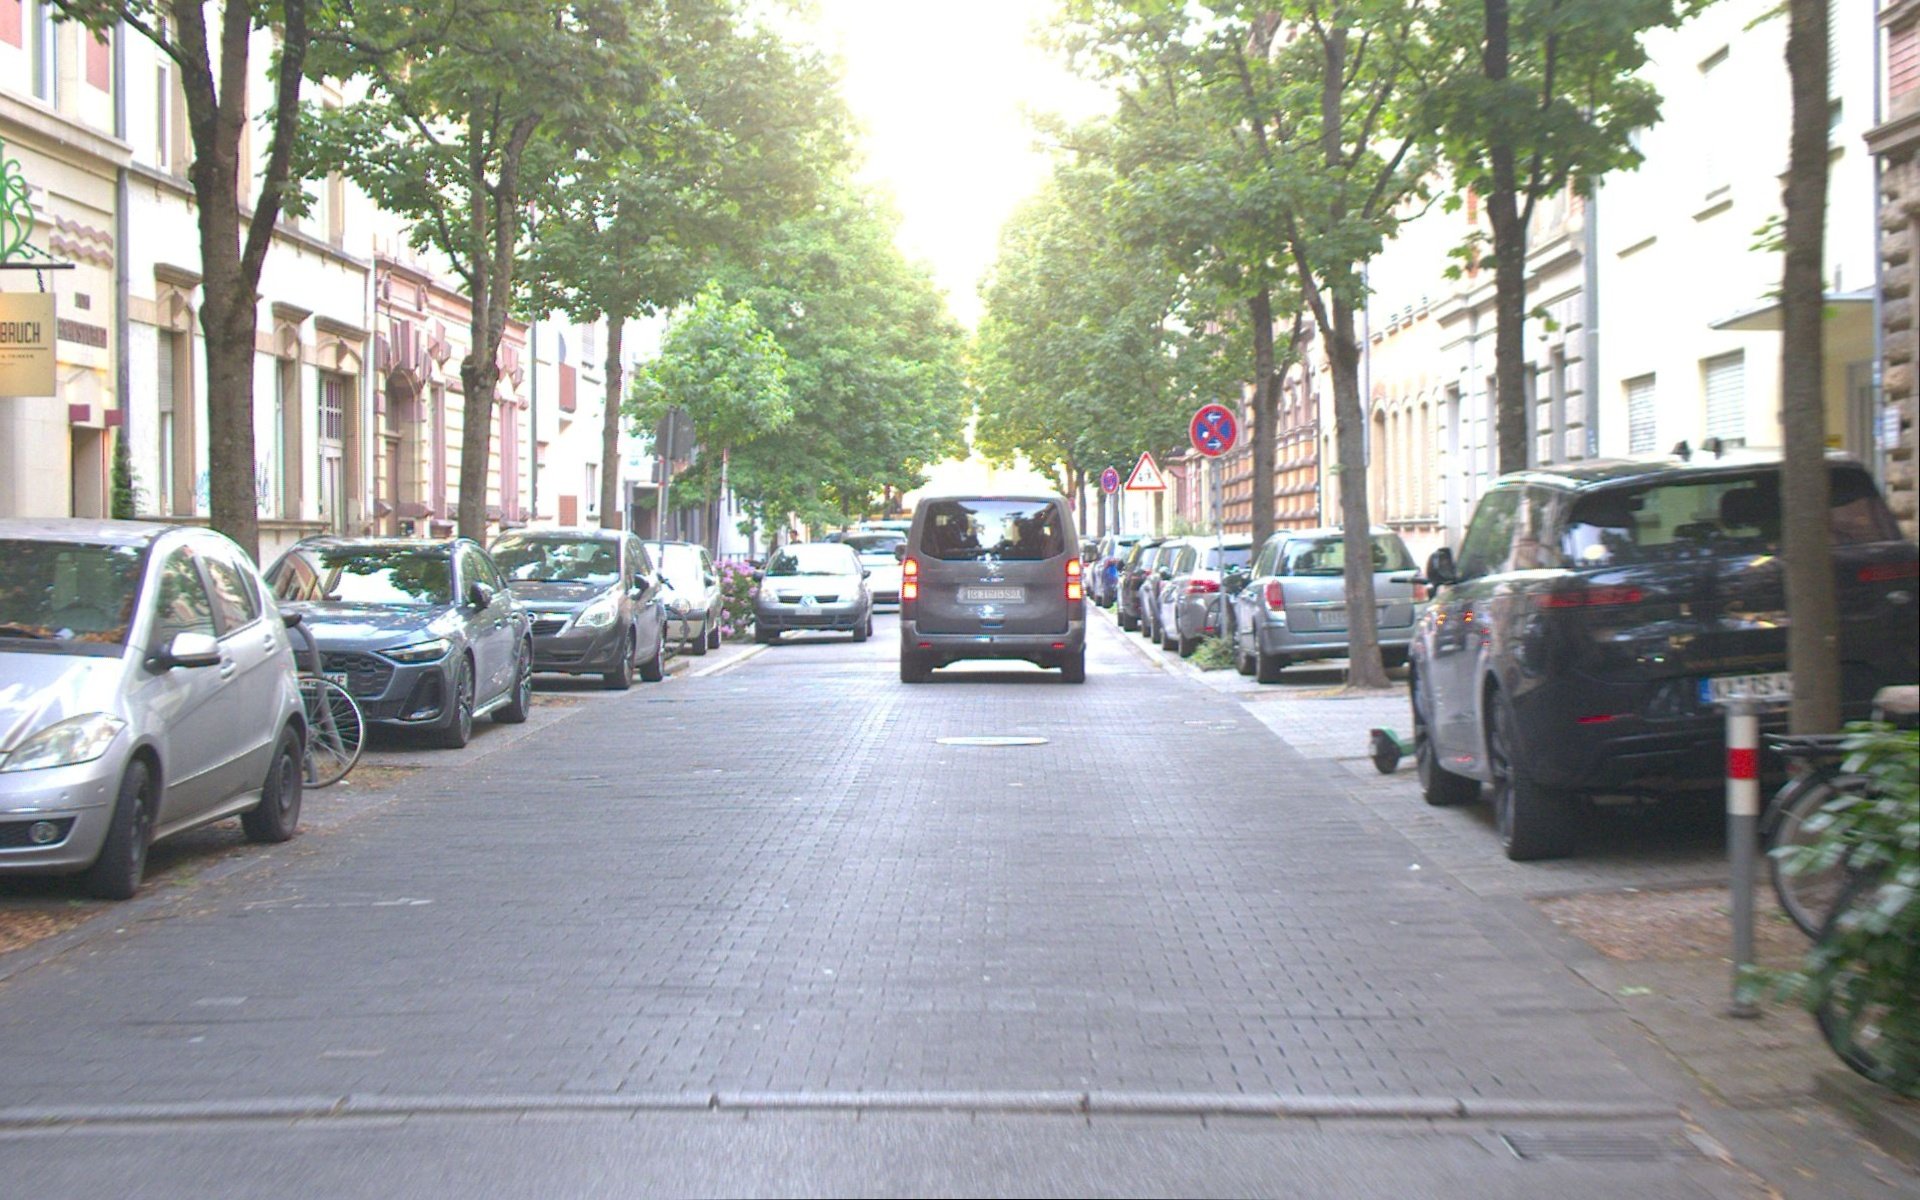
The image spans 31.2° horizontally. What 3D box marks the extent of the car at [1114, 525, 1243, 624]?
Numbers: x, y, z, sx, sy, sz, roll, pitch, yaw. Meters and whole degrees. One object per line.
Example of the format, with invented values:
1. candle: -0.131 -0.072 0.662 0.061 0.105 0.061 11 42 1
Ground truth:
1. car: 3.397 -0.425 54.107 1.766 1.410 4.474 -3 1 1

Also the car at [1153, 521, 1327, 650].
1. car: 3.489 -0.226 43.470 1.716 1.471 4.368 -2 1 -1

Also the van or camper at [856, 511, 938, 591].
1. van or camper: -1.510 -1.203 82.902 1.876 1.836 4.753 -1 1 -1

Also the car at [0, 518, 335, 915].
1. car: -4.173 0.428 15.961 1.676 1.602 3.861 0 1 3

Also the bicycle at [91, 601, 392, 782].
1. bicycle: -4.303 0.543 20.627 1.684 1.000 0.430 2 1 3

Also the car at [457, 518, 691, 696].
1. car: -3.714 0.014 33.645 1.706 1.575 4.078 1 2 2

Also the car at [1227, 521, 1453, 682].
1. car: 3.725 -0.037 34.307 1.758 1.458 4.308 -1 1 0

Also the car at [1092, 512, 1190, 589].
1. car: 3.607 -1.012 69.019 1.627 1.461 4.246 -1 1 -1

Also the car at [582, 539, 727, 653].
1. car: -4.052 -0.086 46.035 1.587 1.432 3.566 1 1 0

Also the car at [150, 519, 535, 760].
1. car: -4.232 0.198 24.268 1.806 1.512 4.685 1 1 1

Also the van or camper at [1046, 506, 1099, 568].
1. van or camper: 4.750 -2.668 145.666 1.993 2.590 5.425 0 1 0

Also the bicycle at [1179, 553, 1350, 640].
1. bicycle: 3.592 -0.055 40.570 1.915 0.978 0.638 -1 1 -20

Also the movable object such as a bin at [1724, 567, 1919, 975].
1. movable object such as a bin: 3.824 0.517 11.721 2.216 1.301 0.770 -4 1 4

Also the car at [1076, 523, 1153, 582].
1. car: 3.858 -1.220 86.428 1.693 1.396 4.646 -2 1 0

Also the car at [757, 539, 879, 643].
1. car: -2.044 -0.160 50.362 1.580 1.415 3.753 -1 1 0

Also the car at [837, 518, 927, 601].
1. car: -1.567 -0.814 67.642 1.663 1.557 4.001 -1 1 -2

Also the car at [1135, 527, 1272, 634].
1. car: 3.439 -0.310 49.081 1.635 1.419 3.565 -2 1 0

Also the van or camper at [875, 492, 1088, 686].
1. van or camper: 0.290 -0.151 35.744 2.035 1.891 4.270 0 1 3

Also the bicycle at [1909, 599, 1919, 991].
1. bicycle: 3.750 0.589 10.227 1.696 1.194 0.582 -1 1 4

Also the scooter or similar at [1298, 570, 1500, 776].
1. scooter or similar: 2.700 0.440 21.100 0.675 1.186 1.113 -3 1 41

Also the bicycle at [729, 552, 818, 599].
1. bicycle: -3.583 -0.473 66.158 1.699 0.904 0.384 0 1 -29

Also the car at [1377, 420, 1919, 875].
1. car: 3.355 0.134 16.850 2.013 1.827 4.811 -3 1 1
